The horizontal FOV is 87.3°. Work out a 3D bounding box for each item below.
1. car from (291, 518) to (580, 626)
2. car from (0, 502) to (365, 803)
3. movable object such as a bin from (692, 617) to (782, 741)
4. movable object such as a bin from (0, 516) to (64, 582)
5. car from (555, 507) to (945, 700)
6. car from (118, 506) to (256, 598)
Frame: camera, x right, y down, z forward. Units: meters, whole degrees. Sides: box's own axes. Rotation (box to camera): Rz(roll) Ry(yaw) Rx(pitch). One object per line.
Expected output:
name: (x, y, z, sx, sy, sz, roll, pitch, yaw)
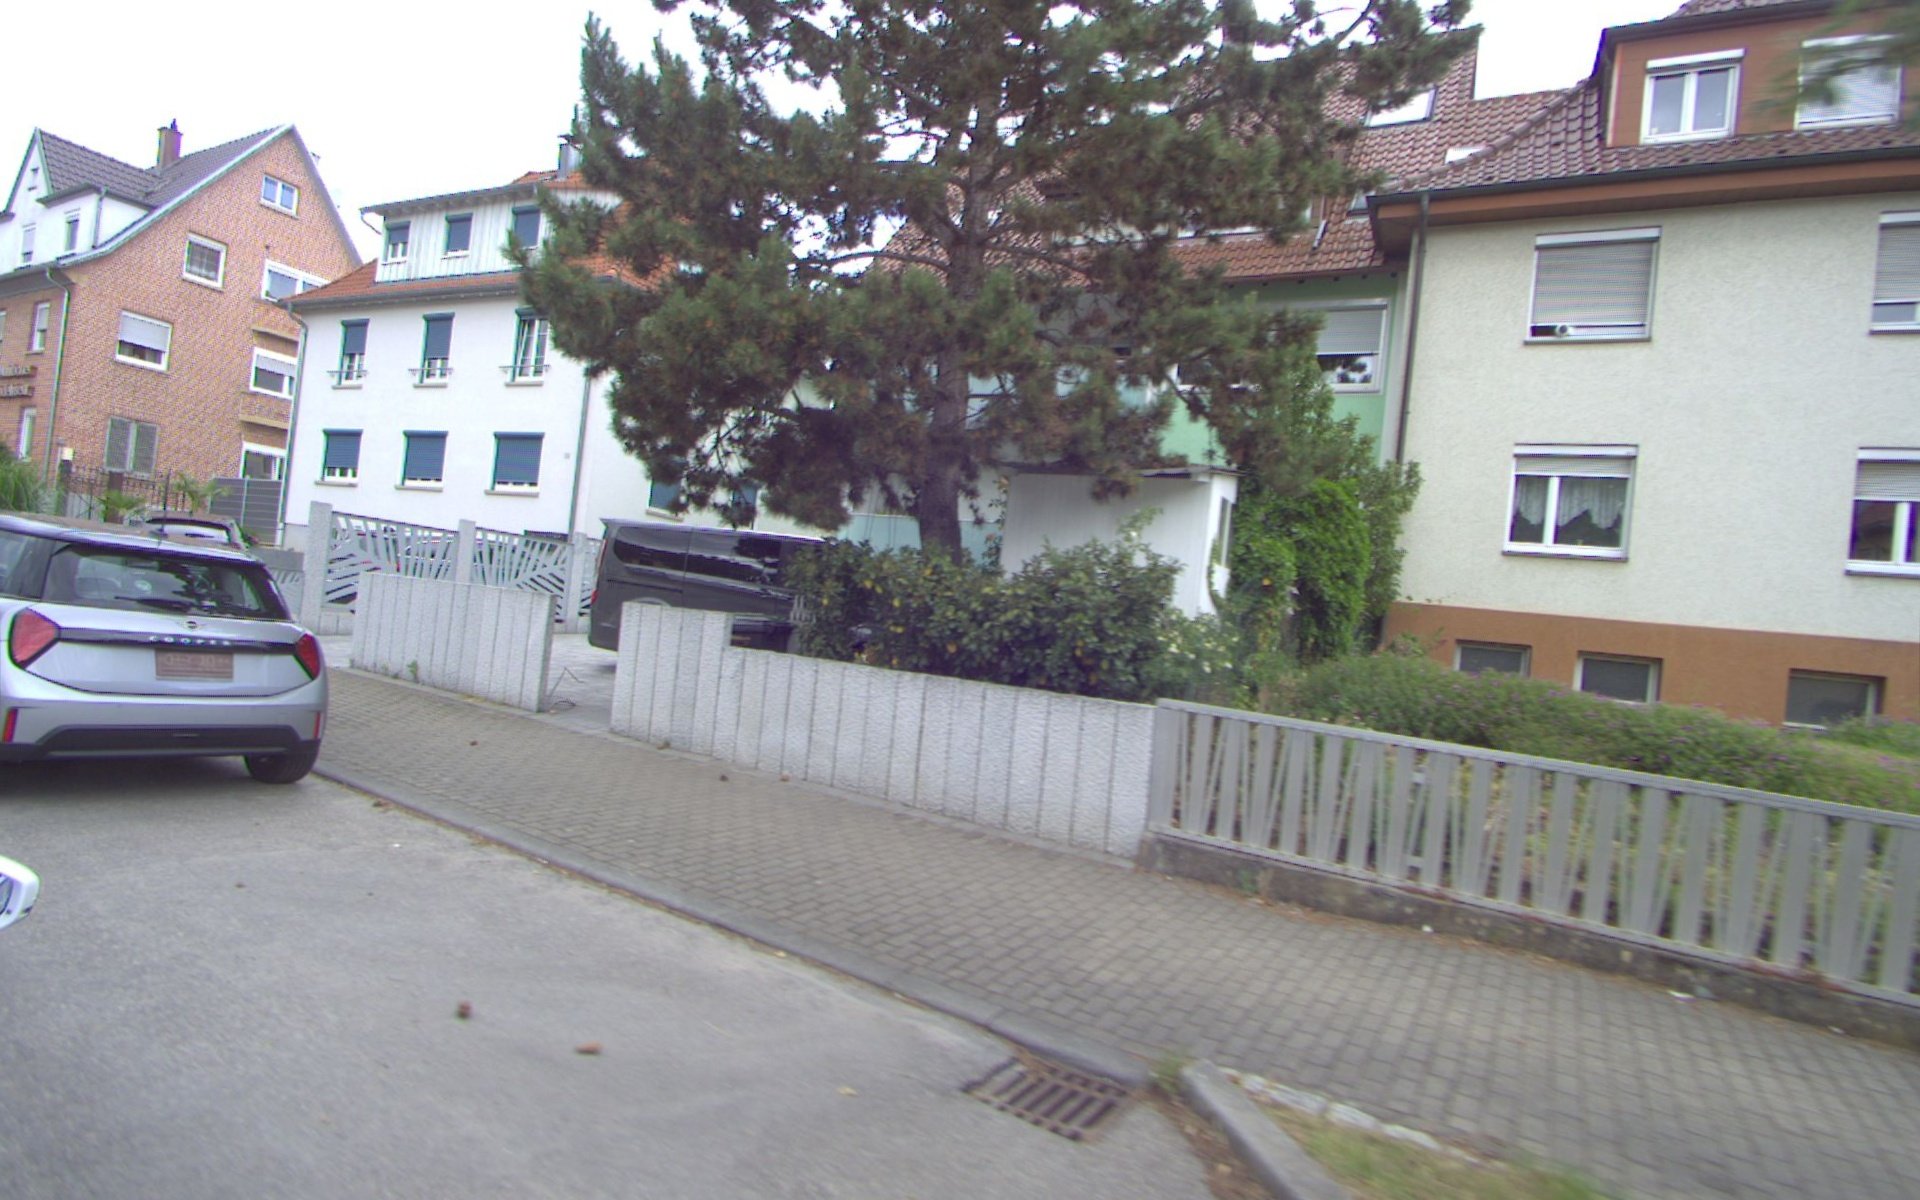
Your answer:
car: (-8.847, -0.401, 17.396, 1.665, 1.525, 4.269, 5, 0, 24)
car: (-5.742, 0.191, 6.376, 3.934, 1.398, 1.653, 5, -3, 32)
movable object such as a bin: (-2.102, 0.731, 9.528, 0.603, 1.071, 0.593, 4, 3, 10)
movable object such as a bin: (-17.573, -0.962, 18.955, 0.680, 1.117, 0.777, 7, -1, 30)
car: (-2.680, 0.016, 13.506, 4.634, 2.041, 1.977, 5, 2, 5)
car: (-14.341, -0.929, 18.825, 1.806, 1.399, 4.436, 4, 2, -36)
